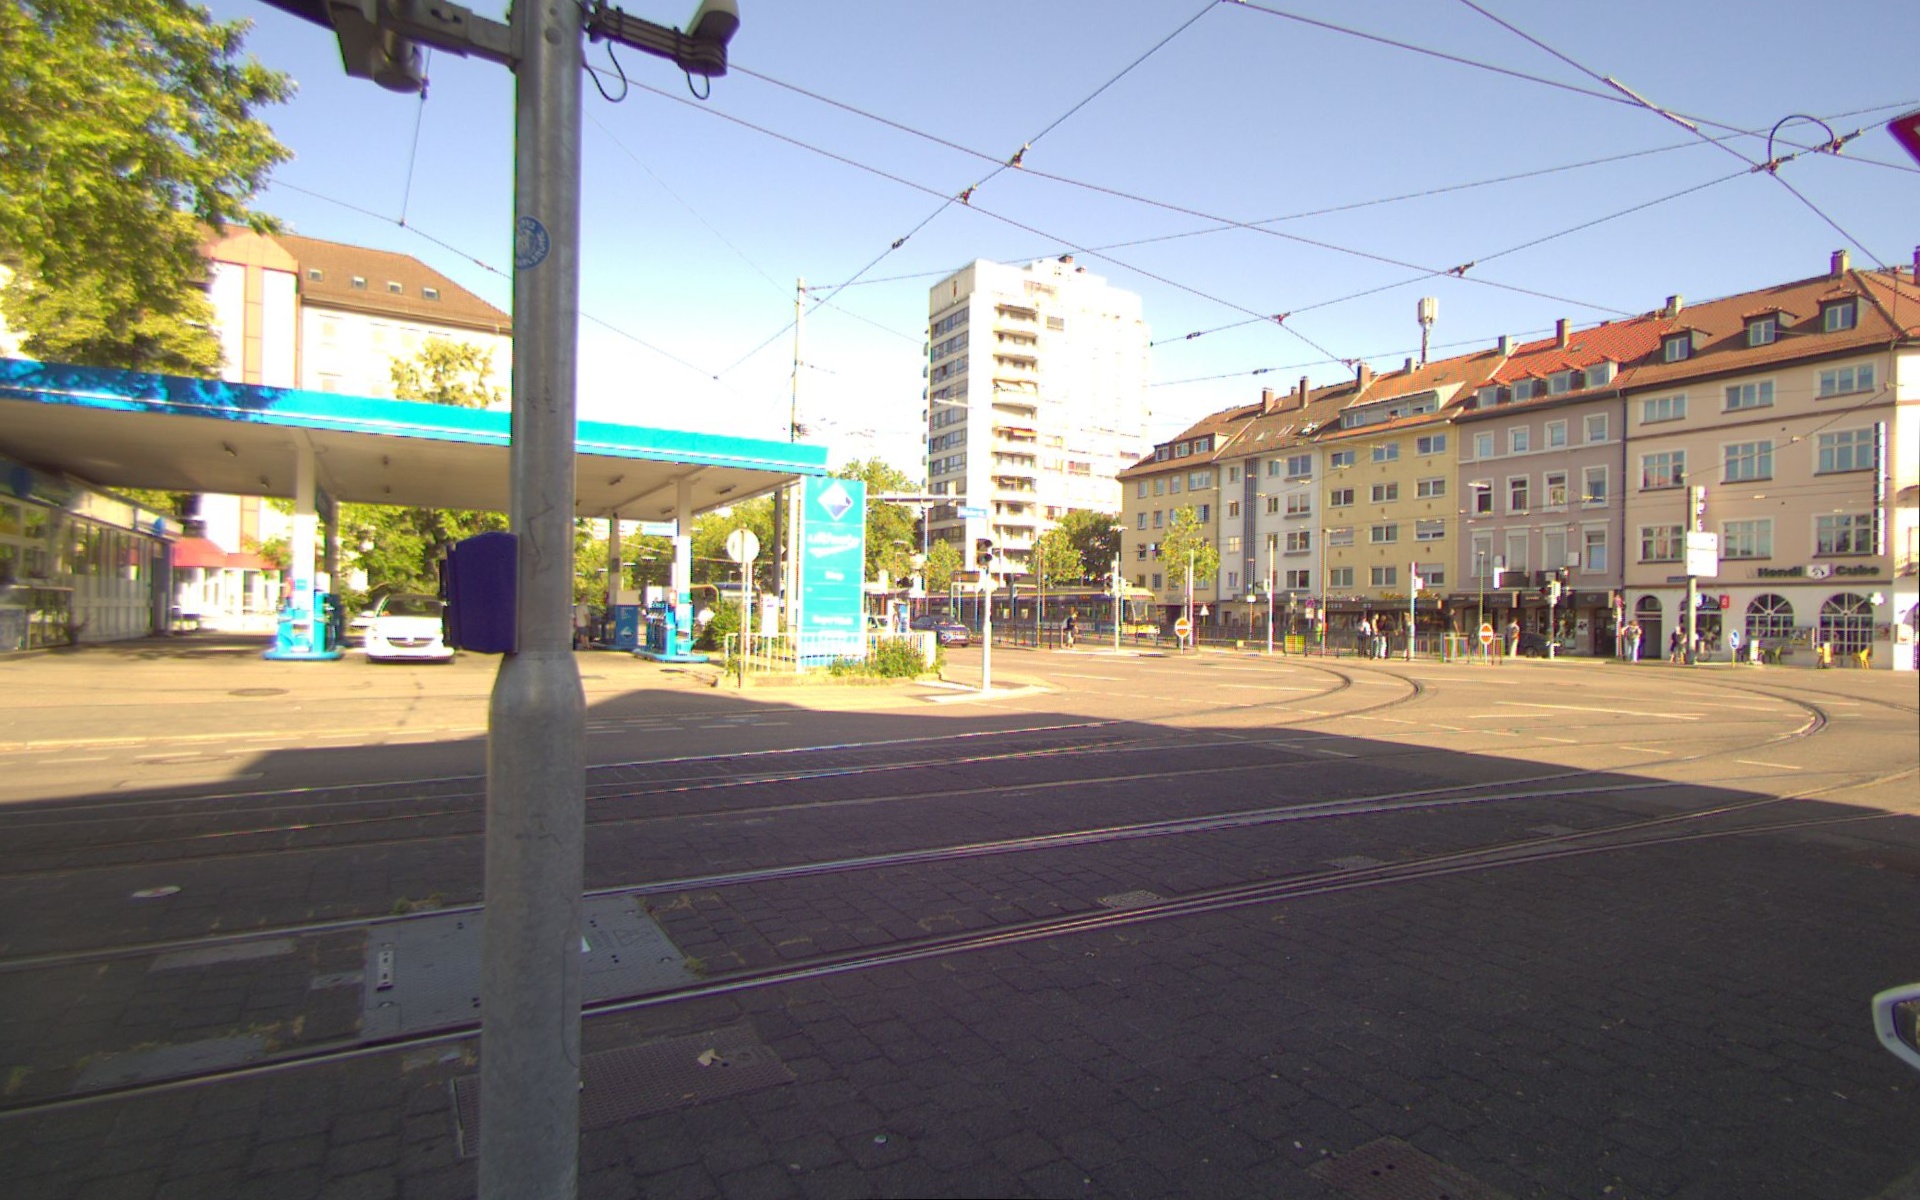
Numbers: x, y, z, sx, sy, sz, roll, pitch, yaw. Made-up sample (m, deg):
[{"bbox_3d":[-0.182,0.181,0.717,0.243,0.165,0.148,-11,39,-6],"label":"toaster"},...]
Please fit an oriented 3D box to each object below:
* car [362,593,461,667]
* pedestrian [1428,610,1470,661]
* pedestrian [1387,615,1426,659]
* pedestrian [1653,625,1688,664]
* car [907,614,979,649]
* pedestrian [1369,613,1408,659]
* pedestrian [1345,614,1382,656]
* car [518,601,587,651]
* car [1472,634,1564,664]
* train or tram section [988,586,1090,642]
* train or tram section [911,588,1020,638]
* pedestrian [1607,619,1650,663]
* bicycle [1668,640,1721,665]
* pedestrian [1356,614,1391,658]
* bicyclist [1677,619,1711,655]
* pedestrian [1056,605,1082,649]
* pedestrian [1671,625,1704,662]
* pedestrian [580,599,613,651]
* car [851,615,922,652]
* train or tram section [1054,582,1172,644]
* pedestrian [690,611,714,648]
[{"bbox_3d":[-12.274,0.641,22.456,1.760,1.483,3.968,1,-1,-30],"label":"car"},{"bbox_3d":[17.526,1.268,36.026,0.929,1.798,1.003,1,-1,-26],"label":"pedestrian"},{"bbox_3d":[16.615,1.373,37.361,0.924,1.619,1.008,1,-1,-9],"label":"pedestrian"},{"bbox_3d":[34.079,2.130,48.205,0.926,1.798,1.006,1,-1,-15],"label":"pedestrian"},{"bbox_3d":[-0.845,1.497,48.321,1.863,1.601,3.971,1,-1,-28],"label":"car"},{"bbox_3d":[15.583,1.301,36.536,0.924,1.619,1.008,1,-1,-9],"label":"pedestrian"},{"bbox_3d":[15.754,1.356,39.254,0.925,1.619,1.007,1,-1,-13],"label":"pedestrian"},{"bbox_3d":[-13.443,0.841,33.019,1.725,1.431,4.061,5,-2,-26],"label":"car"},{"bbox_3d":[30.436,2.640,54.909,1.977,1.472,3.966,1,-1,-31],"label":"car"},{"bbox_3d":[5.238,0.950,68.782,2.790,3.546,8.396,1,-1,-29],"label":"train or tram section"},{"bbox_3d":[0.193,1.015,77.562,2.747,3.546,11.933,1,-1,-30],"label":"train or tram section"},{"bbox_3d":[26.654,1.617,40.070,1.091,1.707,1.075,1,-1,-30],"label":"pedestrian"},{"bbox_3d":[37.117,2.633,50.792,0.623,1.197,2.081,1,-1,-29],"label":"bicycle"},{"bbox_3d":[15.558,1.343,37.831,0.922,1.619,1.010,1,-1,3],"label":"pedestrian"},{"bbox_3d":[37.042,1.870,50.699,0.740,1.798,1.159,1,-1,-31],"label":"bicyclist"},{"bbox_3d":[4.806,1.191,44.050,1.084,1.870,1.171,1,-1,8],"label":"pedestrian"},{"bbox_3d":[35.637,2.138,49.213,0.996,1.798,0.935,1,-1,-25],"label":"pedestrian"},{"bbox_3d":[-11.677,0.798,32.245,0.802,1.647,1.155,1,-1,-29],"label":"pedestrian"},{"bbox_3d":[-3.469,1.532,46.740,1.863,1.601,3.971,1,-1,-28],"label":"car"},{"bbox_3d":[9.227,0.817,61.750,2.792,3.546,7.895,1,-1,-31],"label":"train or tram section"},{"bbox_3d":[-11.529,1.309,44.793,0.907,1.595,0.959,1,-1,-22],"label":"pedestrian"}]
